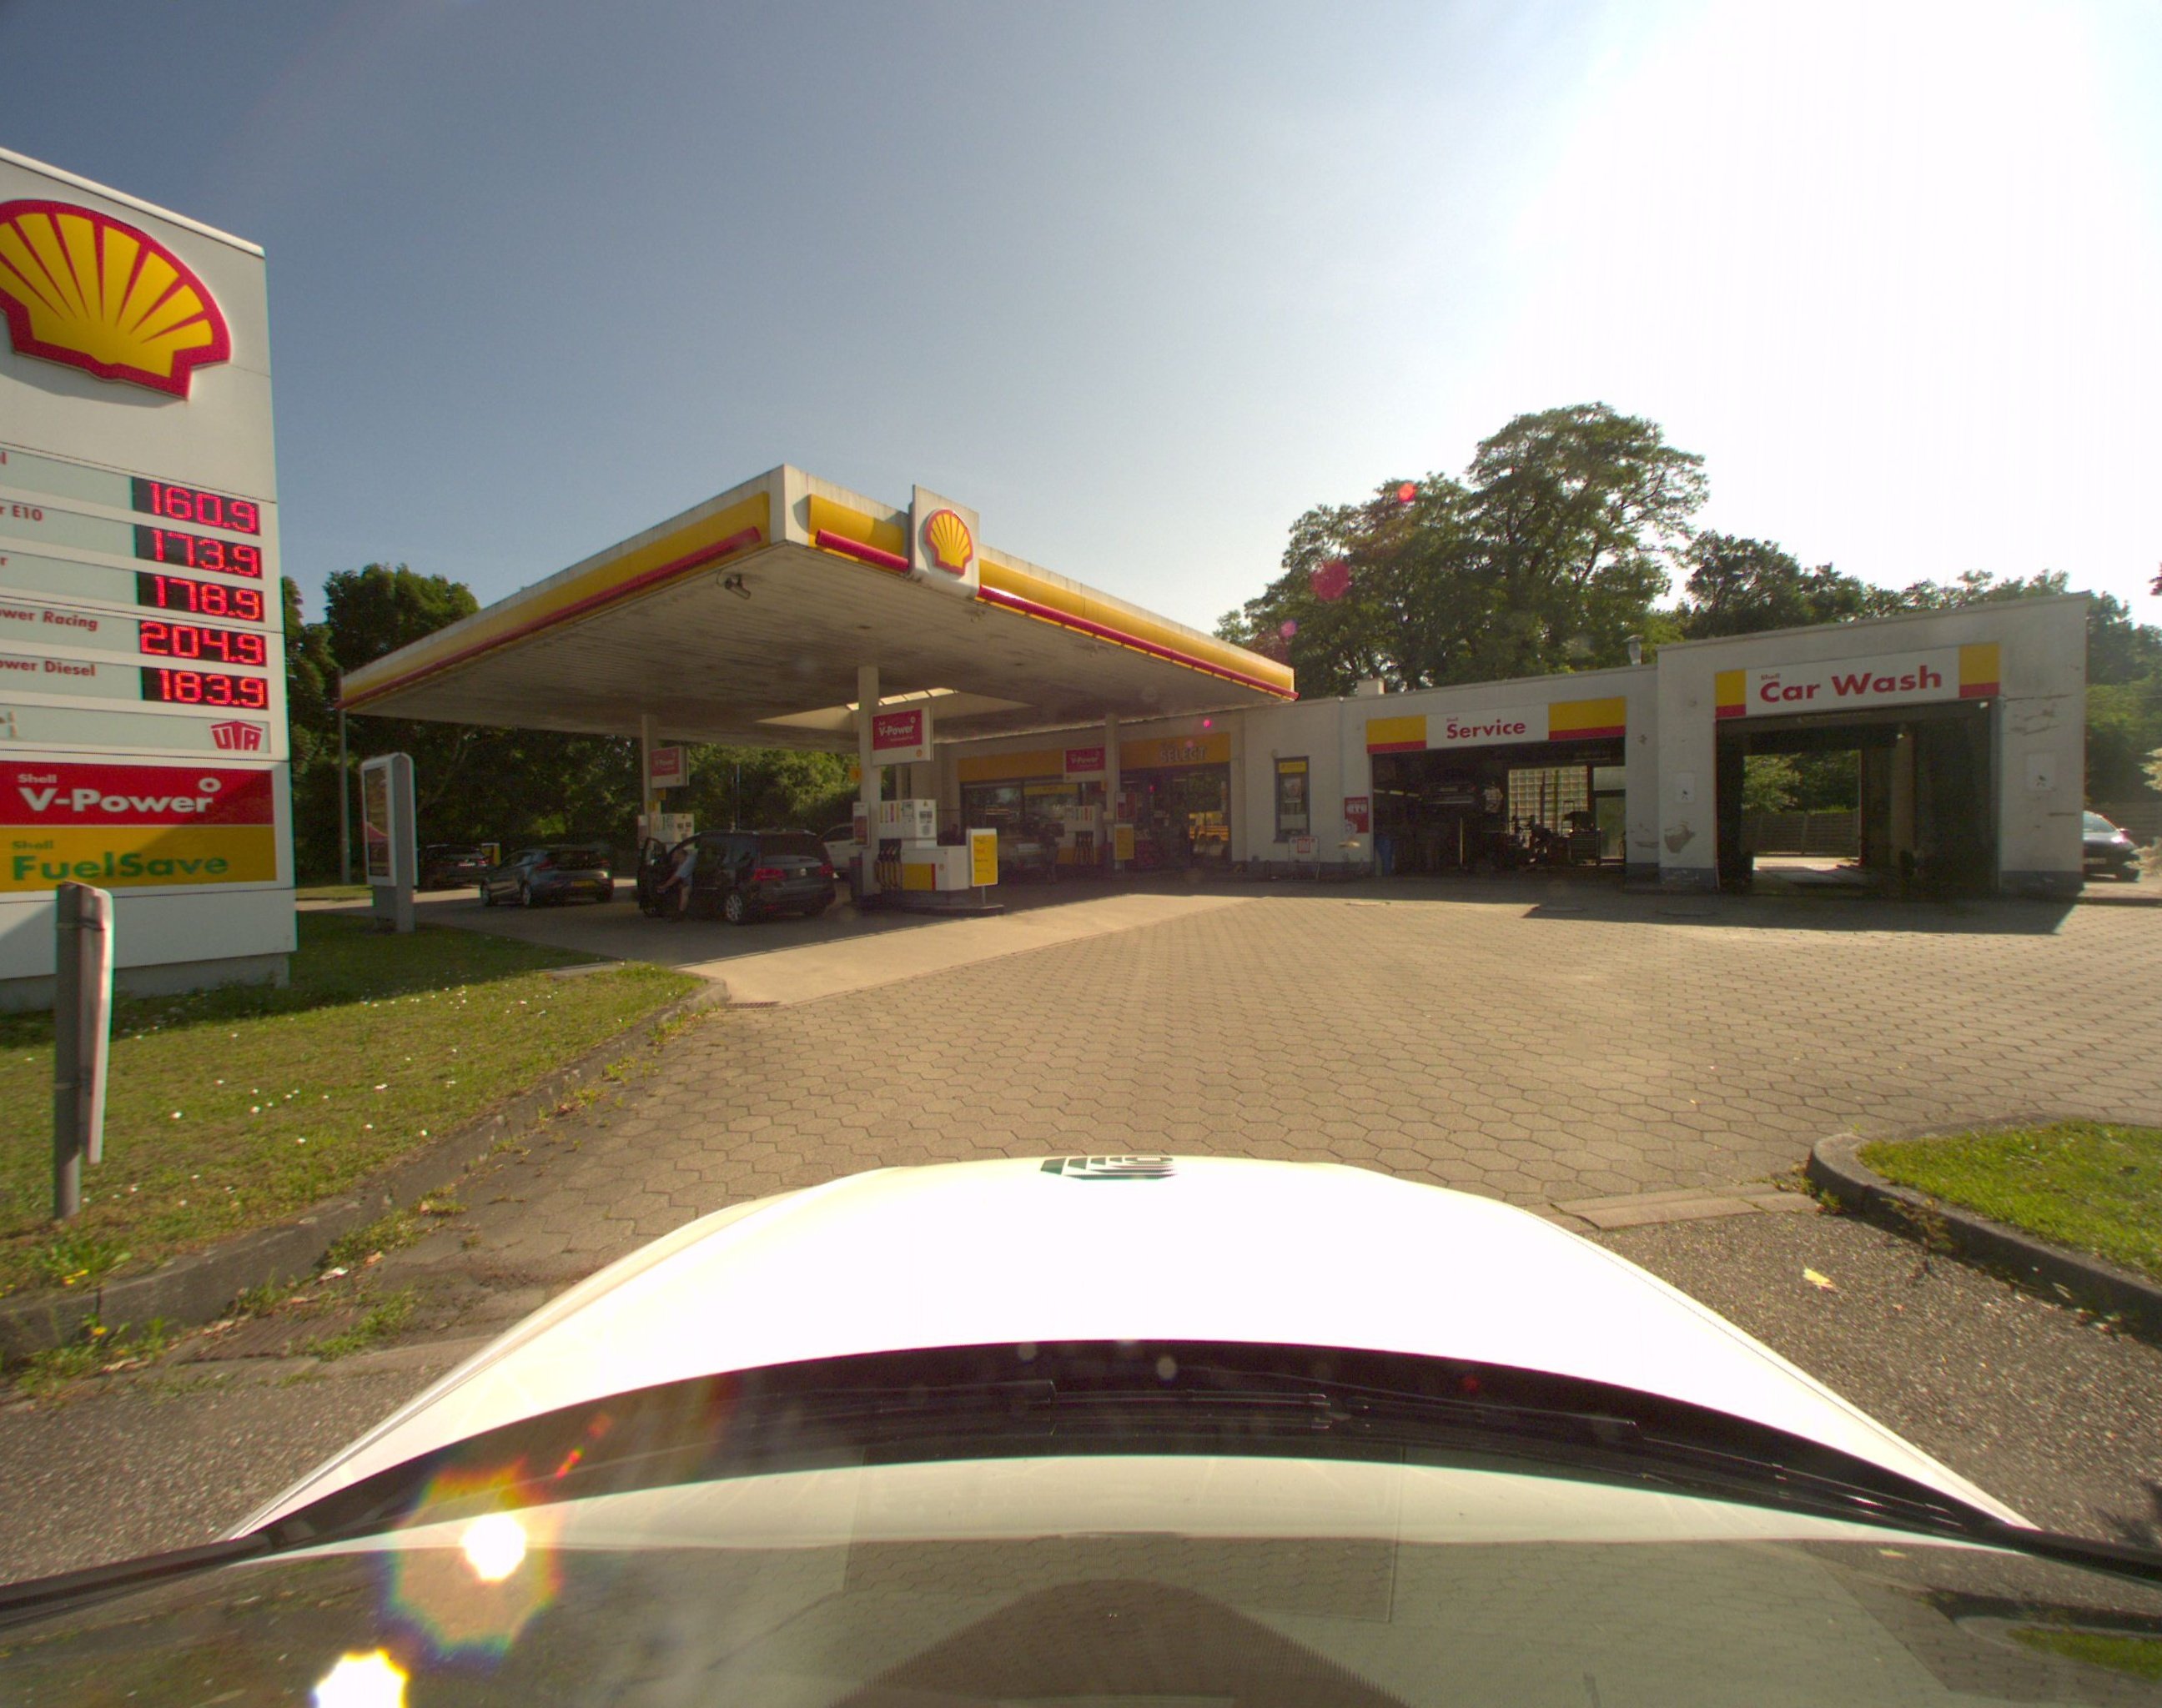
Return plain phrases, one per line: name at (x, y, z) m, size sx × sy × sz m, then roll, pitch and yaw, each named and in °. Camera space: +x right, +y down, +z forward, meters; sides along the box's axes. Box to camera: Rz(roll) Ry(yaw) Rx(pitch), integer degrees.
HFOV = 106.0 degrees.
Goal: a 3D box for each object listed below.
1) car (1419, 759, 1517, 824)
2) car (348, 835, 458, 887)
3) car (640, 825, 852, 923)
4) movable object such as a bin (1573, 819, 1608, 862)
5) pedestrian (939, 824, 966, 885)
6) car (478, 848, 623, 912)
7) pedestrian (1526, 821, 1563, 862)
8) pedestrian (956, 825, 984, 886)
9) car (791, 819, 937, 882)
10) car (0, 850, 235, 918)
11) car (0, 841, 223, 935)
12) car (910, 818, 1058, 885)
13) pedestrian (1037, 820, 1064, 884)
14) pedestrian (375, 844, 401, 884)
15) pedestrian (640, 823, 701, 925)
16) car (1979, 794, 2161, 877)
car at (10.977, -1.685, 22.947) m, size 1.630 × 1.486 × 4.025 m, roll -1°, pitch -1°, yaw 38°
car at (-24.713, 0.262, 29.671) m, size 3.948 × 1.766 × 2.013 m, roll -1°, pitch -1°, yaw 34°
car at (-6.228, 0.311, 15.035) m, size 3.827 × 1.578 × 1.777 m, roll 0°, pitch 1°, yaw 35°
movable object such as a bin at (14.820, -0.381, 23.668) m, size 0.789 × 1.236 × 0.548 m, roll -1°, pitch -1°, yaw 38°
pedestrian at (-3.502, 0.000, 22.199) m, size 0.469 × 1.631 × 0.504 m, roll 0°, pitch 1°, yaw 40°
car at (-12.836, 0.569, 19.637) m, size 3.798 × 1.360 × 1.815 m, roll 0°, pitch 2°, yaw 39°
pedestrian at (13.671, -0.360, 24.009) m, size 0.855 × 1.198 × 0.748 m, roll -1°, pitch -1°, yaw 35°
pedestrian at (-2.950, 0.031, 21.663) m, size 0.469 × 1.593 × 0.504 m, roll 0°, pitch 1°, yaw 40°
car at (-7.005, -0.121, 26.070) m, size 4.718 × 1.837 × 1.869 m, roll 0°, pitch 1°, yaw 35°
car at (-24.249, 0.692, 20.363) m, size 1.565 × 1.530 × 4.025 m, roll -1°, pitch -1°, yaw 29°
car at (-17.694, 0.594, 14.613) m, size 2.722 × 1.530 × 1.572 m, roll -1°, pitch -1°, yaw -10°
car at (-2.767, -0.073, 22.777) m, size 3.949 × 1.727 × 1.845 m, roll -1°, pitch 1°, yaw 40°
pedestrian at (-0.816, -0.052, 21.644) m, size 0.494 × 1.668 × 0.479 m, roll -1°, pitch 1°, yaw 37°
pedestrian at (-26.822, 0.388, 31.528) m, size 0.388 × 1.537 × 0.682 m, roll 0°, pitch 1°, yaw 40°
pedestrian at (-7.222, 0.325, 14.323) m, size 0.802 × 1.729 × 0.678 m, roll 0°, pitch 1°, yaw 42°
car at (21.004, -0.342, 17.389) m, size 1.704 × 1.575 × 3.414 m, roll -1°, pitch -1°, yaw 35°
